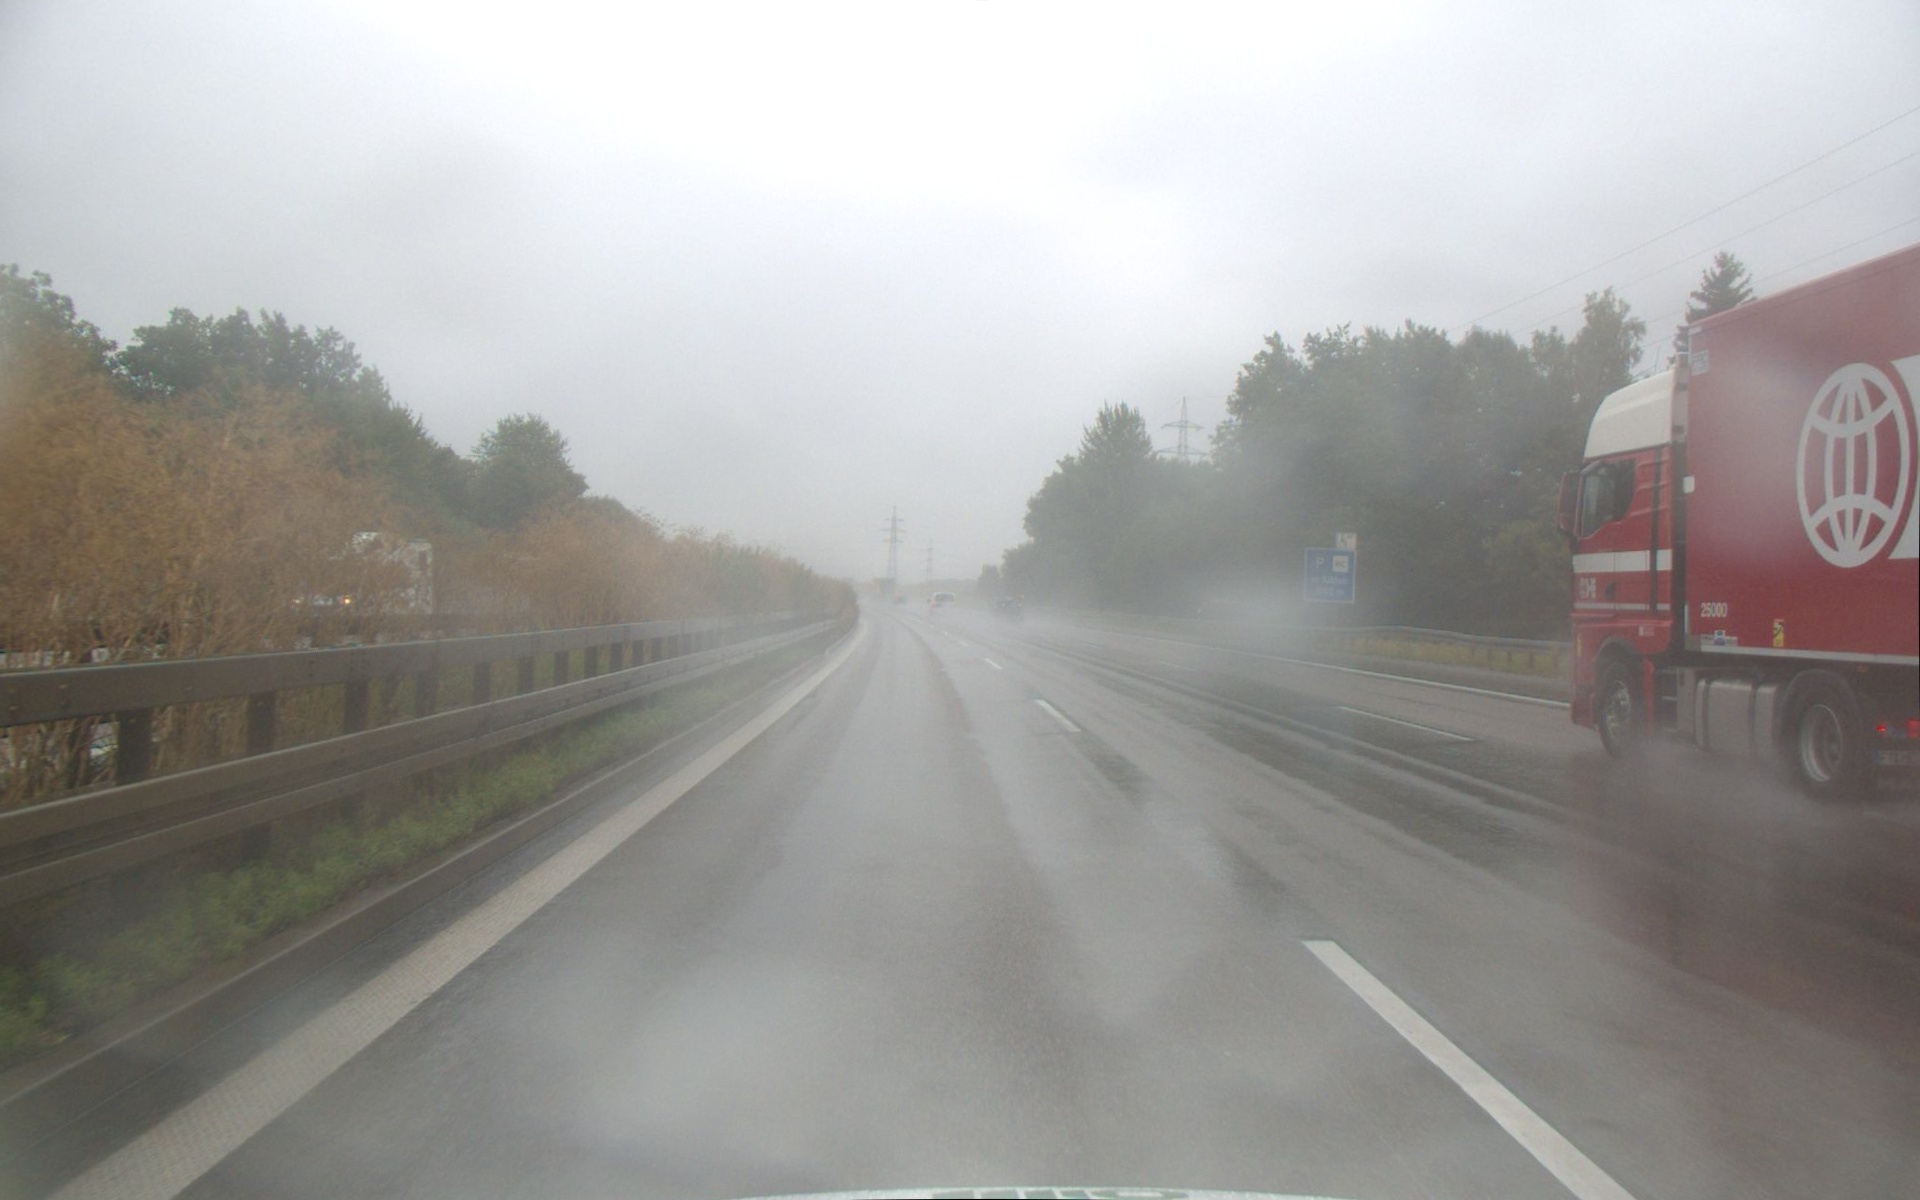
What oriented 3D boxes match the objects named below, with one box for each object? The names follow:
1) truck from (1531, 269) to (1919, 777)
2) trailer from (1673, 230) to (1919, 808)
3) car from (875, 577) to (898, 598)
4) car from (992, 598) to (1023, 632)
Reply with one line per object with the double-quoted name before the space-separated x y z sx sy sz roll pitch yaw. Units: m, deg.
"truck" 7.802 -0.600 15.895 2.567 4.024 5.430 1 0 -2
"trailer" 8.058 -0.551 8.400 2.567 4.024 13.625 1 0 -2
"car" -11.621 -1.917 262.159 3.138 3.248 7.247 1 0 -6
"car" 3.153 0.972 109.690 1.771 2.196 3.998 1 0 -2
